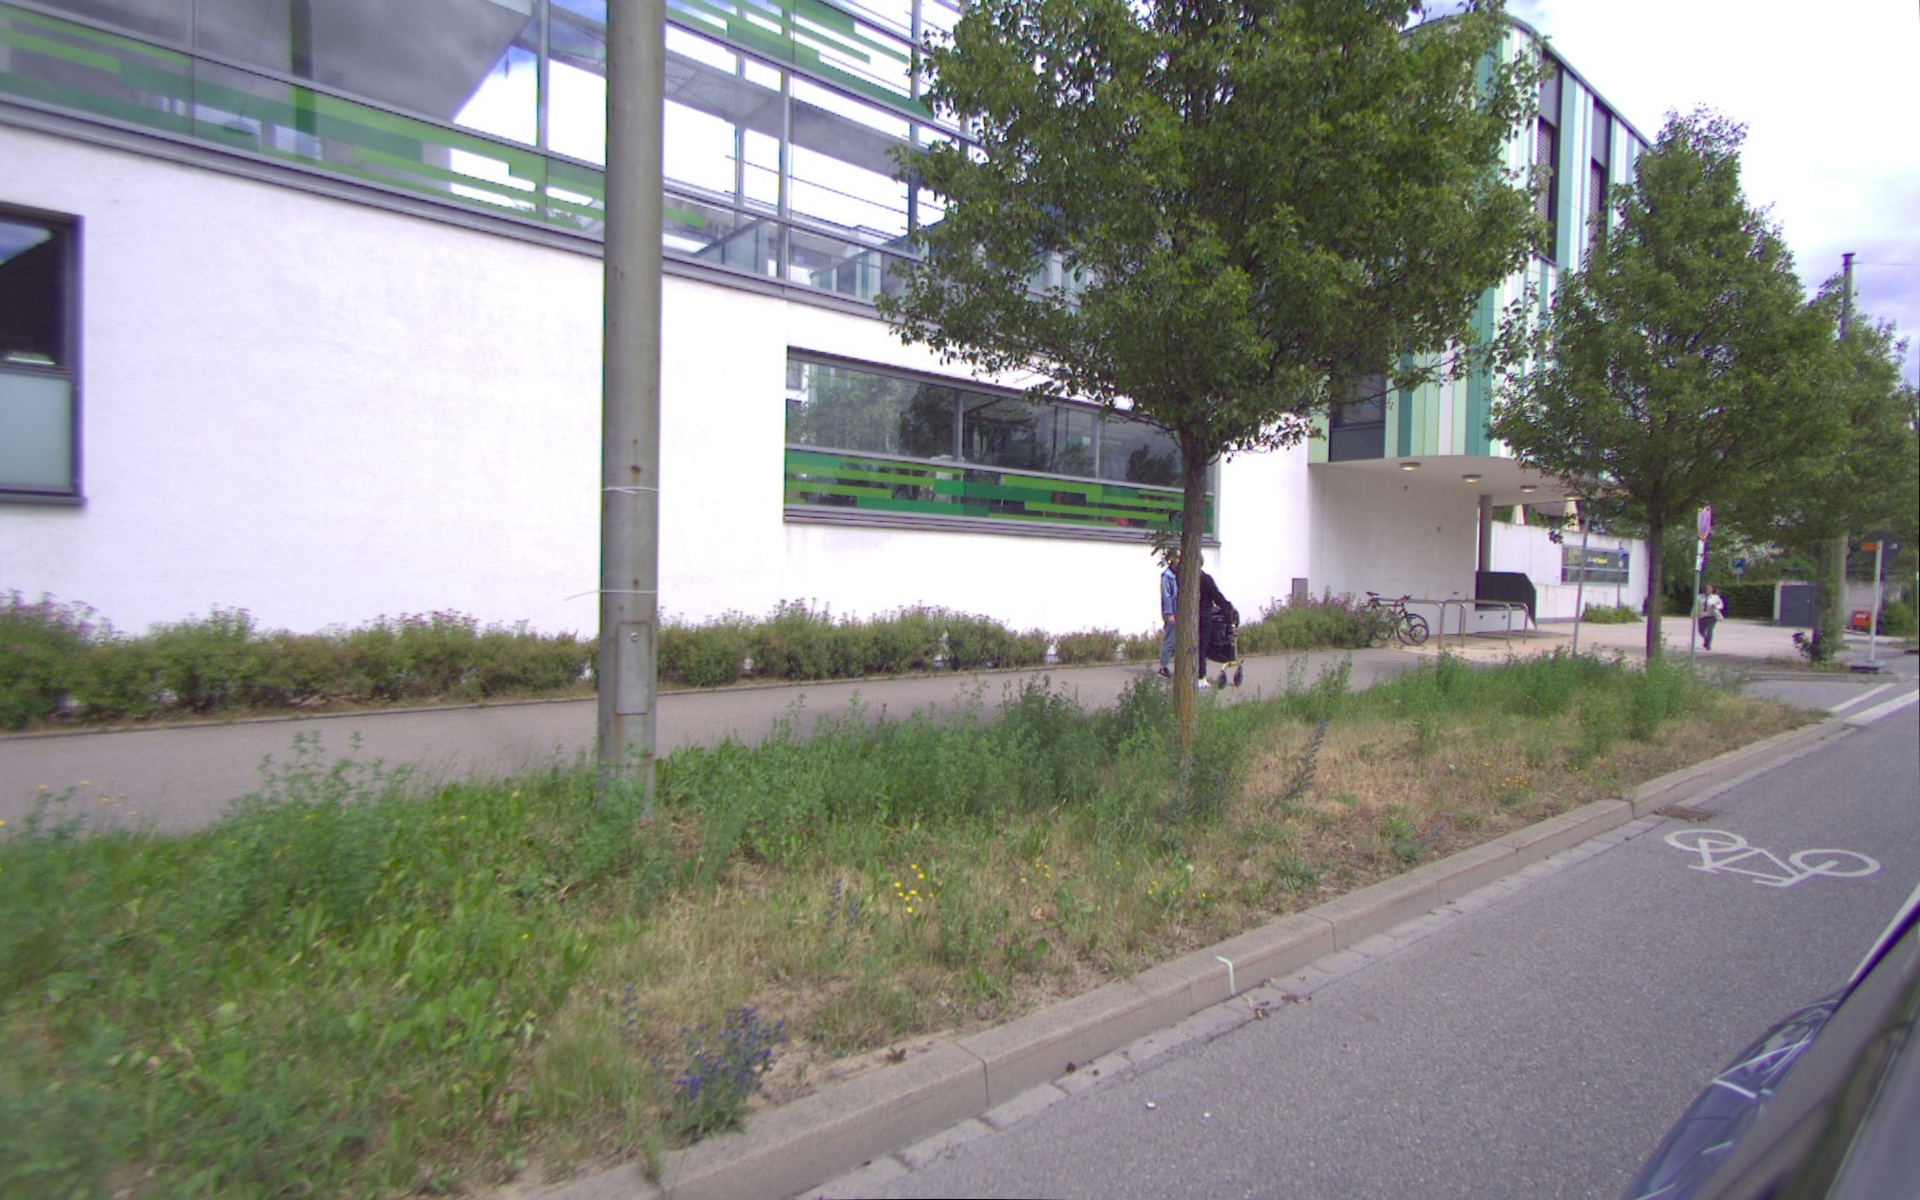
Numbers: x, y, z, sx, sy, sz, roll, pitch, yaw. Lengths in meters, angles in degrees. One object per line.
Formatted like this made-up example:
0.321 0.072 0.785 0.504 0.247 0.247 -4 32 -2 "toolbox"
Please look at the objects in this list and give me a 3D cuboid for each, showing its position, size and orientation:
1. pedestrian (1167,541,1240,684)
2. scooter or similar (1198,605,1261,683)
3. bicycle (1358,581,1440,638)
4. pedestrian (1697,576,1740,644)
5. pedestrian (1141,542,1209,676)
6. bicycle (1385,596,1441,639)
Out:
2.950 0.130 12.281 0.542 1.675 0.606 0 2 -41 "pedestrian"
3.345 0.530 12.563 0.670 0.916 0.422 0 2 -41 "scooter or similar"
8.927 0.172 20.600 1.462 1.058 0.303 4 2 38 "bicycle"
18.026 0.221 24.052 0.853 1.570 0.582 0 3 -41 "pedestrian"
2.766 0.102 13.002 0.596 1.675 0.551 0 2 -41 "pedestrian"
9.600 0.370 21.446 1.011 0.852 0.305 3 2 18 "bicycle"
